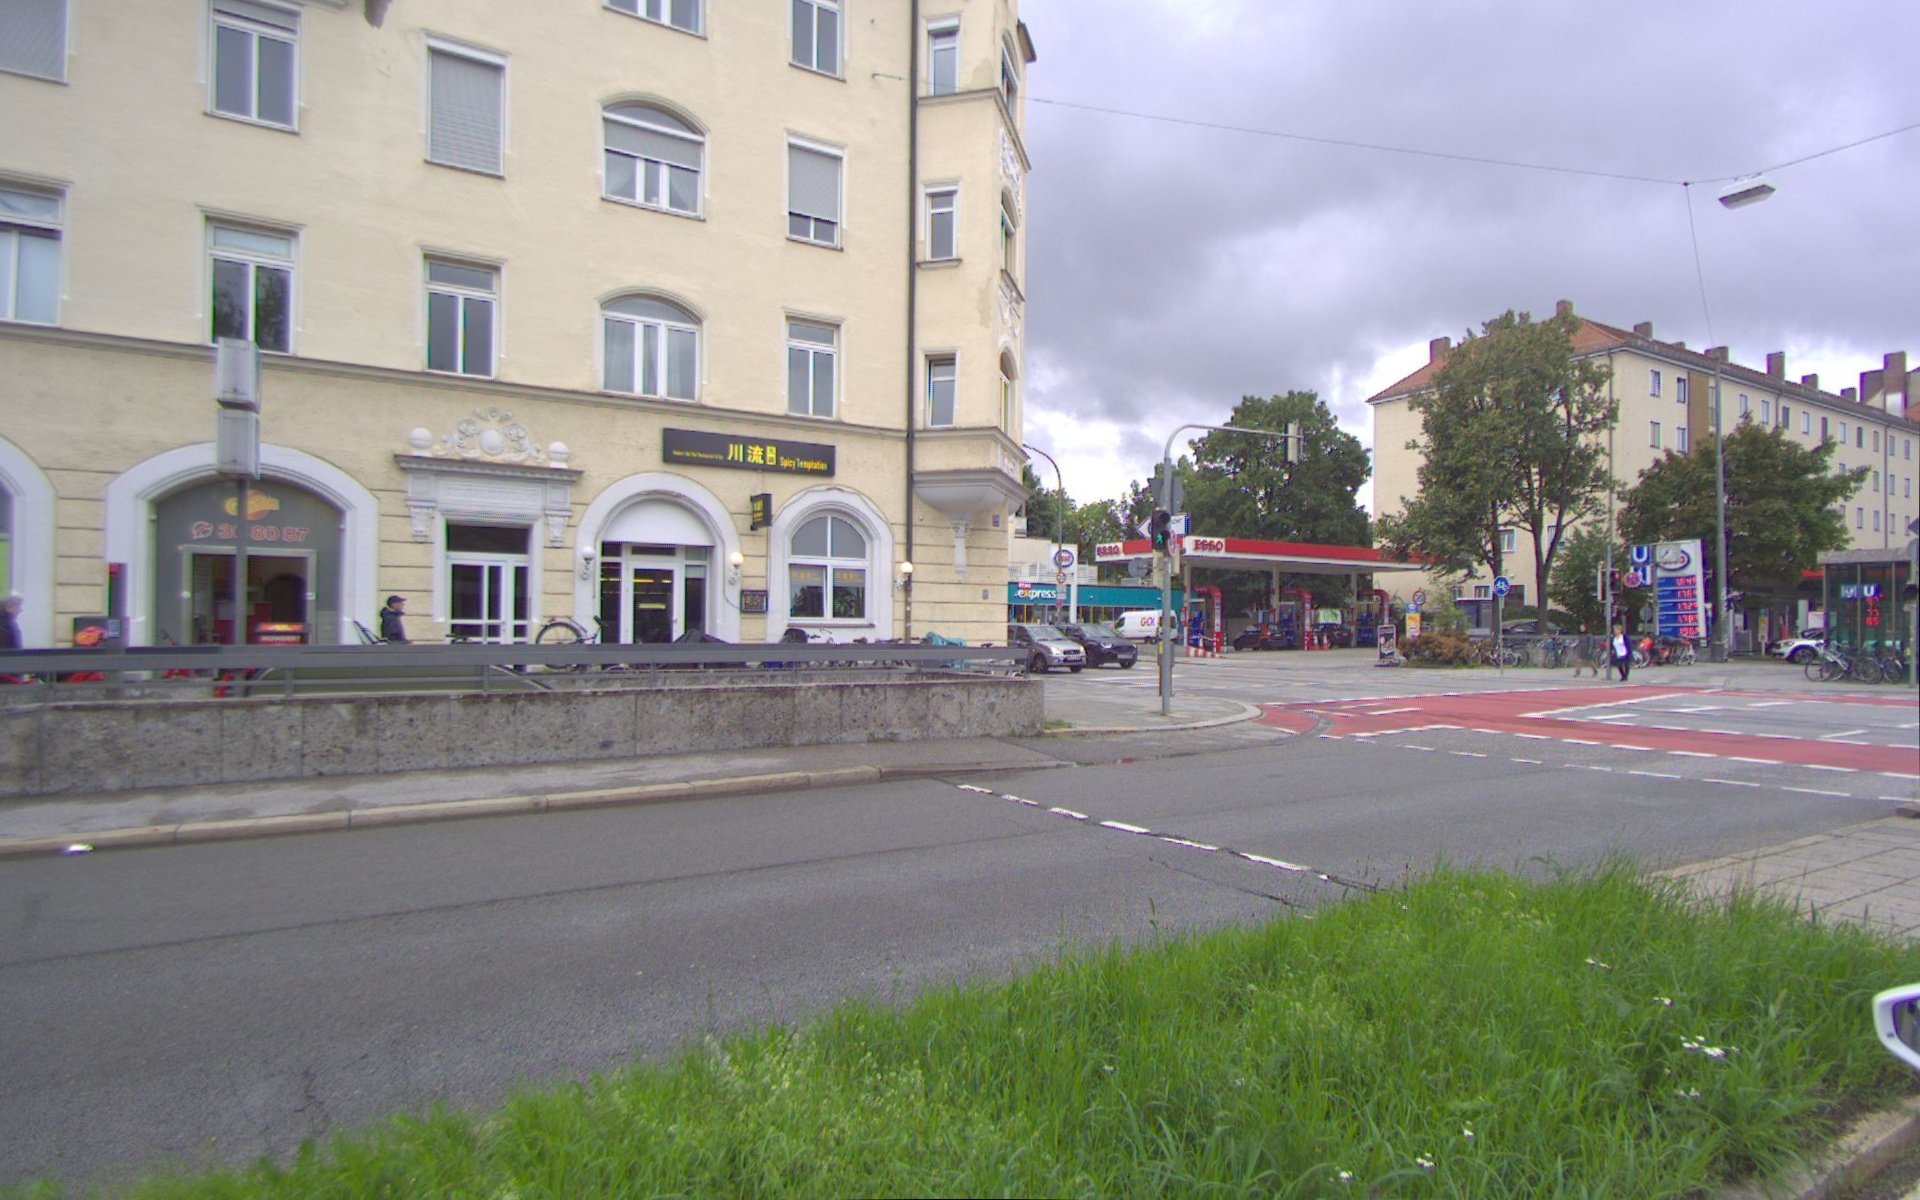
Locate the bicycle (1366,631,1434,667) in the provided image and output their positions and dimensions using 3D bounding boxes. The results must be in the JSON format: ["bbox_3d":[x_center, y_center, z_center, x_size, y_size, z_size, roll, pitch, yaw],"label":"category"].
[{"bbox_3d":[15.974,1.765,36.485,0.759,1.252,2.162,1,-1,-39],"label":"bicycle"}]

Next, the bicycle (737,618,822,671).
[{"bbox_3d":[-3.440,0.842,19.217,1.527,0.993,0.470,1,-1,-30],"label":"bicycle"}]

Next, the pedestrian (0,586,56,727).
[{"bbox_3d":[-11.774,0.689,12.427,0.762,1.719,0.540,1,-1,-32],"label":"pedestrian"}]

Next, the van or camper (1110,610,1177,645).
[{"bbox_3d":[12.517,1.851,68.787,1.899,2.354,4.508,1,-1,-34],"label":"van or camper"}]

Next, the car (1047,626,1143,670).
[{"bbox_3d":[4.661,1.641,35.083,1.643,1.430,3.534,1,-1,-27],"label":"car"}]

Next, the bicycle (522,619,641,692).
[{"bbox_3d":[-5.408,0.780,14.383,1.527,0.993,0.470,1,-1,-30],"label":"bicycle"}]

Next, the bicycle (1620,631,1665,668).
[{"bbox_3d":[23.523,1.692,34.605,2.167,1.252,0.603,1,-1,-37],"label":"bicycle"}]

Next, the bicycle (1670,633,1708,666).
[{"bbox_3d":[26.874,1.805,37.004,1.947,1.160,0.603,1,-1,-37],"label":"bicycle"}]

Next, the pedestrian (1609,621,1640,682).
[{"bbox_3d":[18.923,1.464,28.613,0.569,1.717,0.532,1,-1,-27],"label":"pedestrian"}]

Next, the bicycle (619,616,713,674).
[{"bbox_3d":[-5.194,0.785,17.753,1.527,0.993,0.470,1,-1,-30],"label":"bicycle"}]

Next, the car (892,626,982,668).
[{"bbox_3d":[-0.927,1.699,37.198,1.643,1.430,4.299,1,-1,-27],"label":"car"}]

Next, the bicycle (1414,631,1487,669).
[{"bbox_3d":[16.990,1.728,34.844,0.760,1.252,2.161,1,-1,-41],"label":"bicycle"}]

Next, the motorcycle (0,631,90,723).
[{"bbox_3d":[-12.674,0.993,13.314,1.946,1.137,0.610,1,-1,10],"label":"motorcycle"}]

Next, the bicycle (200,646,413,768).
[{"bbox_3d":[-6.666,1.053,10.311,1.798,1.130,0.392,1,-1,-39],"label":"bicycle"}]

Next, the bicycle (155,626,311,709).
[{"bbox_3d":[-9.123,0.833,12.671,1.527,0.993,0.470,1,-1,-30],"label":"bicycle"}]

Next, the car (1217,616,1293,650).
[{"bbox_3d":[16.584,1.823,56.590,1.836,1.808,3.968,1,-1,-30],"label":"car"}]

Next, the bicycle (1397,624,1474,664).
[{"bbox_3d":[17.046,1.560,36.043,0.785,1.267,2.374,2,0,-40],"label":"bicycle"}]

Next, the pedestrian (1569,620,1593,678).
[{"bbox_3d":[18.776,1.474,30.380,0.581,1.717,0.576,0,-1,29],"label":"pedestrian"}]

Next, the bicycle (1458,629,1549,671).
[{"bbox_3d":[18.529,1.696,34.276,2.664,1.267,0.792,2,0,30],"label":"bicycle"}]

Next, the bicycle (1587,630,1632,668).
[{"bbox_3d":[22.501,1.683,34.759,2.167,1.252,0.603,1,-1,-37],"label":"bicycle"}]

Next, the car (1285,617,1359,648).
[{"bbox_3d":[21.859,1.963,60.726,1.836,1.808,3.968,1,-1,-30],"label":"car"}]

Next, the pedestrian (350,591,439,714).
[{"bbox_3d":[-8.162,0.740,14.527,0.583,1.719,0.943,0,-1,32],"label":"pedestrian"}]

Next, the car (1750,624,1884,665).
[{"bbox_3d":[36.045,1.842,42.365,3.887,1.630,1.818,0,-1,12],"label":"car"}]

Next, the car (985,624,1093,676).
[{"bbox_3d":[2.470,1.563,32.246,1.646,1.537,3.599,1,-1,-32],"label":"car"}]

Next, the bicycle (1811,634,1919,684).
[{"bbox_3d":[25.951,1.662,28.811,0.685,1.322,2.275,1,-1,-28],"label":"bicycle"}]

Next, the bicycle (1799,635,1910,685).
[{"bbox_3d":[25.278,1.659,28.438,0.695,1.322,2.262,1,-1,-28],"label":"bicycle"}]
